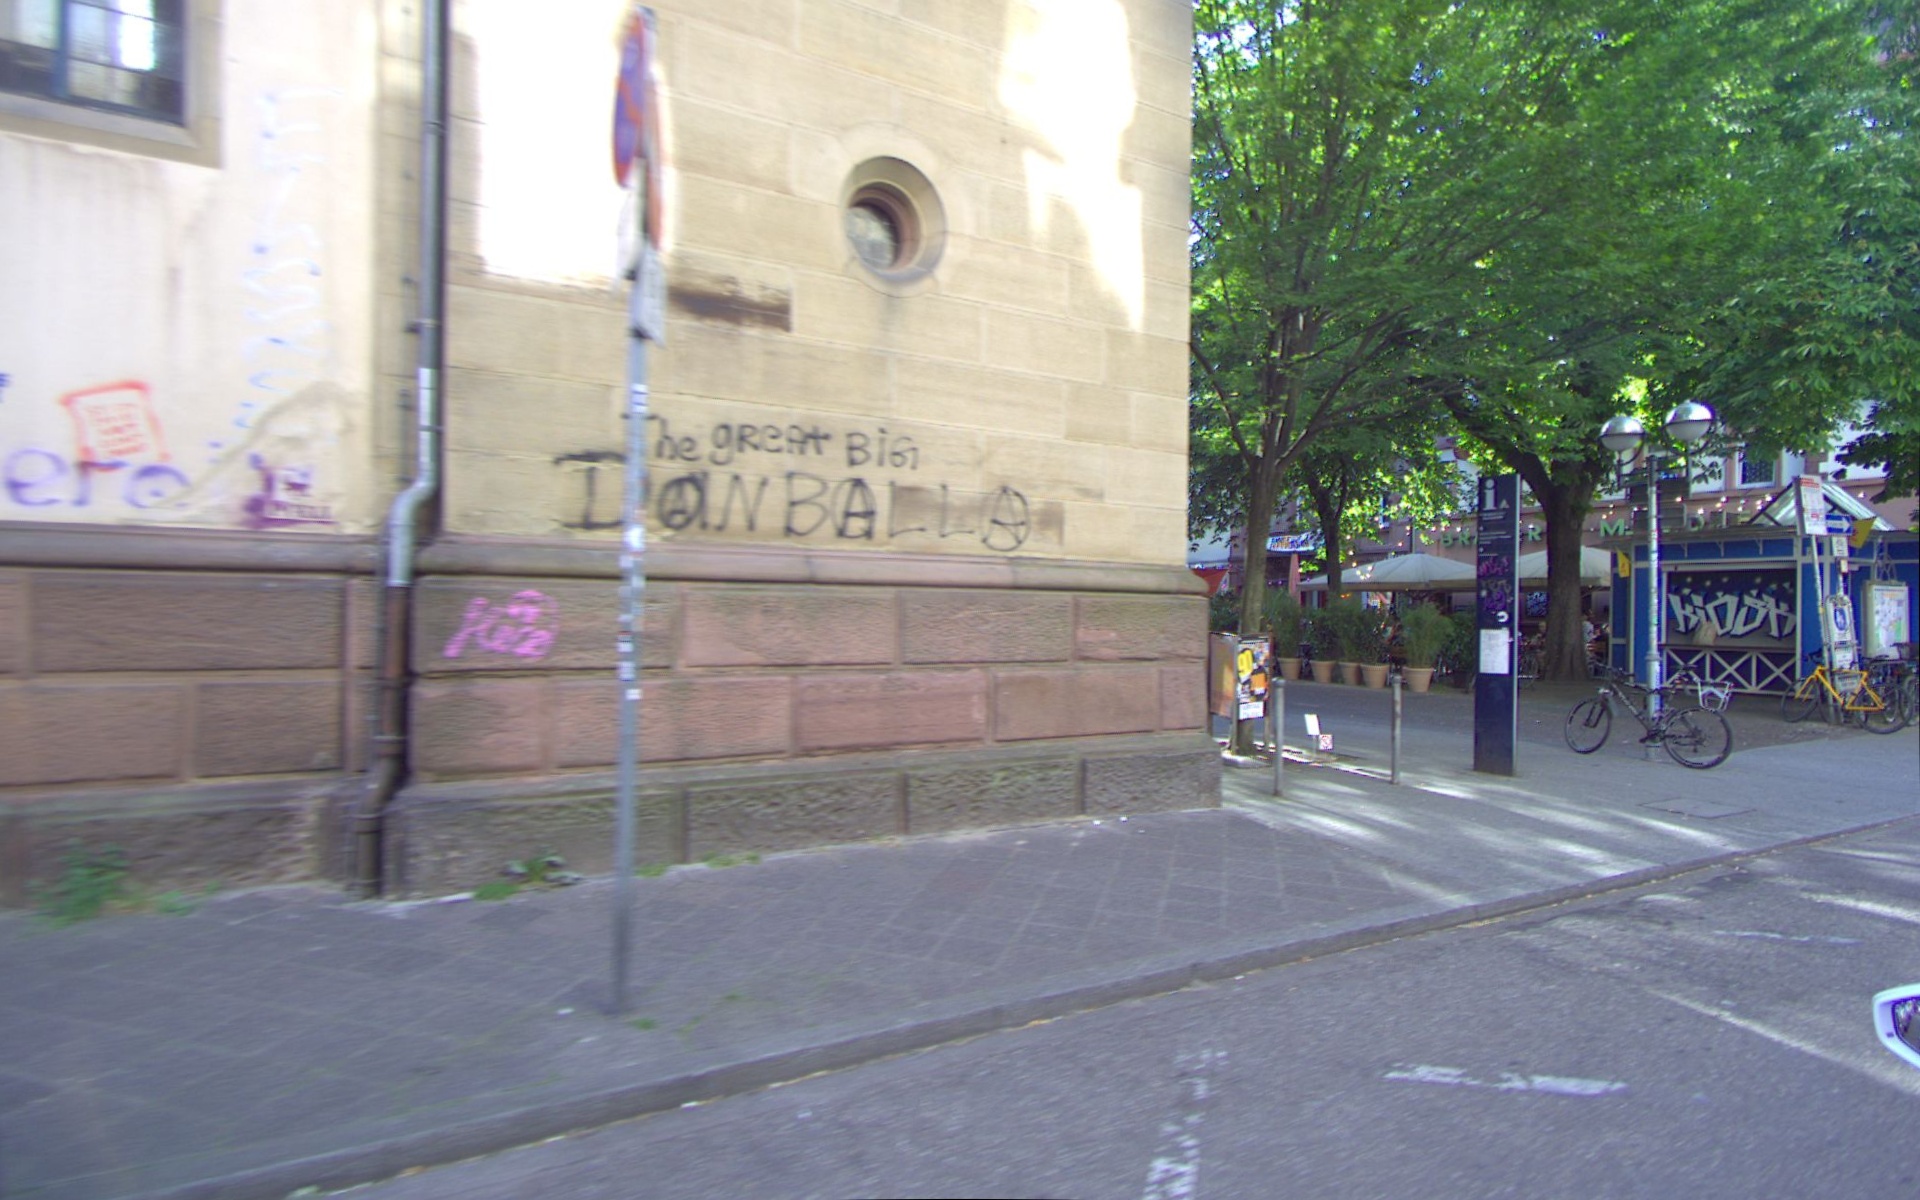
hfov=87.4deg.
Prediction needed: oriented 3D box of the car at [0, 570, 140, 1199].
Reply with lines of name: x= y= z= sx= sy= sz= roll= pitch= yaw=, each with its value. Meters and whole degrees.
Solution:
car: x=-3.078 y=0.689 z=0.533 sx=3.788 sy=1.573 sz=1.786 roll=2 pitch=0 yaw=-30

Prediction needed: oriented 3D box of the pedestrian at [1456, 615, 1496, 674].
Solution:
pedestrian: x=12.074 y=1.038 z=23.518 sx=0.627 sy=1.338 sz=0.565 roll=2 pitch=0 yaw=-30

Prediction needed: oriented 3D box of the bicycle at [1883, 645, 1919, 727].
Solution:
bicycle: x=13.655 y=1.202 z=14.298 sx=1.560 sy=1.097 sz=0.291 roll=0 pitch=1 yaw=-30

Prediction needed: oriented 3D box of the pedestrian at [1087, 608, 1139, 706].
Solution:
pedestrian: x=2.613 y=0.964 z=17.180 sx=0.707 sy=1.614 sz=0.476 roll=2 pitch=0 yaw=-33

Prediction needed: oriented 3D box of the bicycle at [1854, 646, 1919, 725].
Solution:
bicycle: x=13.483 y=1.217 z=14.571 sx=1.560 sy=1.060 sz=0.291 roll=0 pitch=1 yaw=-30

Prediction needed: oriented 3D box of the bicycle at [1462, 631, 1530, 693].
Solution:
bicycle: x=10.635 y=1.214 z=19.918 sx=1.914 sy=1.106 sz=0.227 roll=-1 pitch=2 yaw=-31

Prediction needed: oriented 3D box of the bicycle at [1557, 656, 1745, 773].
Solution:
bicycle: x=7.462 y=1.197 z=10.929 sx=0.343 sy=1.080 sz=1.681 roll=1 pitch=0 yaw=-31

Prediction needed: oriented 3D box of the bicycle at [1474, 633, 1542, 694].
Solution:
bicycle: x=10.752 y=1.220 z=19.690 sx=1.914 sy=1.106 sz=0.227 roll=-1 pitch=1 yaw=-31

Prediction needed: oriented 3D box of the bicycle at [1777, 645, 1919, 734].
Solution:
bicycle: x=12.353 y=1.210 z=13.971 sx=0.341 sy=1.097 sz=1.572 roll=2 pitch=0 yaw=-18

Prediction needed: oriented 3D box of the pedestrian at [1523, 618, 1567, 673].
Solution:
pedestrian: x=14.577 y=1.128 z=25.053 sx=0.604 sy=1.338 sz=0.696 roll=2 pitch=0 yaw=-21

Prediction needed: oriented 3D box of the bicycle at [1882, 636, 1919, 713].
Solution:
bicycle: x=15.610 y=1.194 z=16.534 sx=2.023 sy=1.146 sz=0.492 roll=1 pitch=1 yaw=-44
